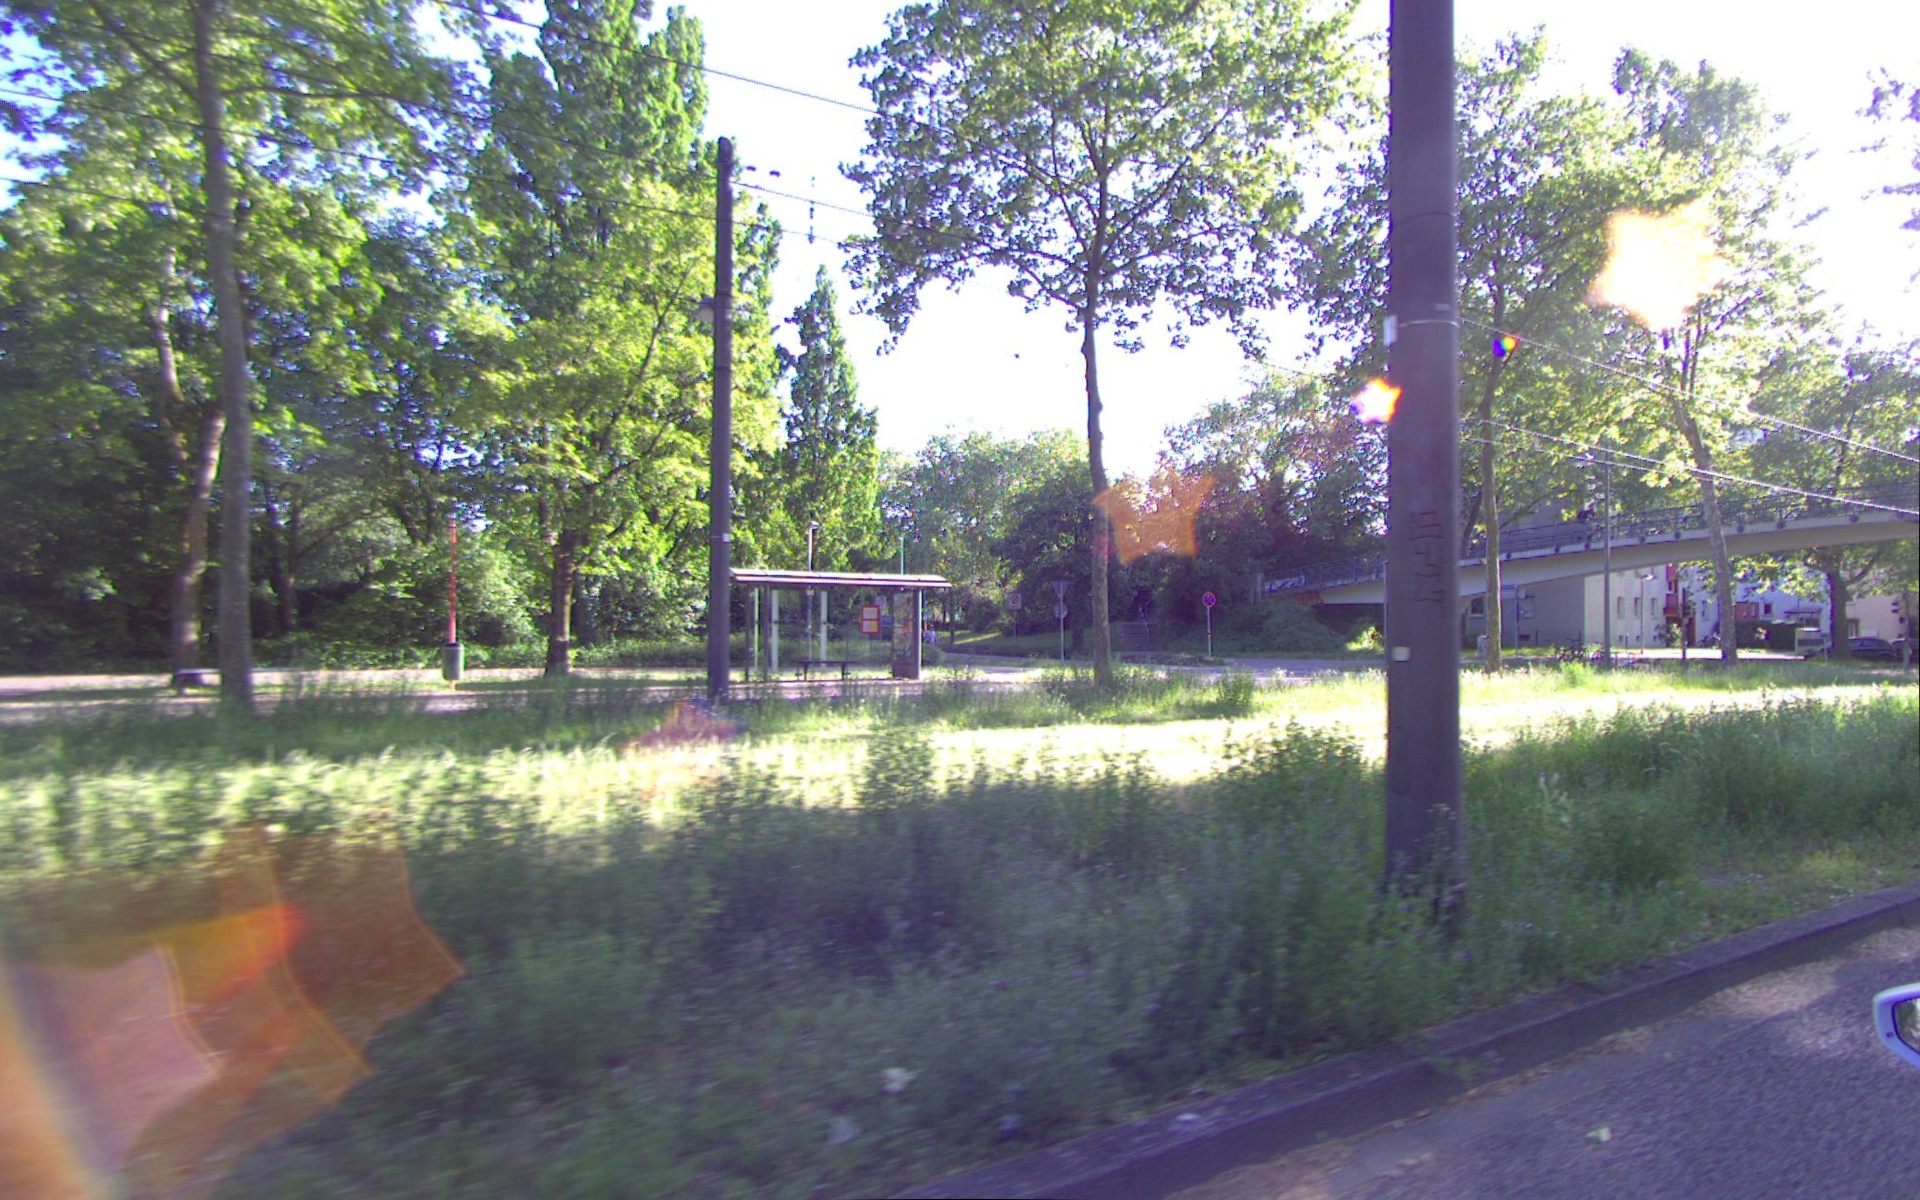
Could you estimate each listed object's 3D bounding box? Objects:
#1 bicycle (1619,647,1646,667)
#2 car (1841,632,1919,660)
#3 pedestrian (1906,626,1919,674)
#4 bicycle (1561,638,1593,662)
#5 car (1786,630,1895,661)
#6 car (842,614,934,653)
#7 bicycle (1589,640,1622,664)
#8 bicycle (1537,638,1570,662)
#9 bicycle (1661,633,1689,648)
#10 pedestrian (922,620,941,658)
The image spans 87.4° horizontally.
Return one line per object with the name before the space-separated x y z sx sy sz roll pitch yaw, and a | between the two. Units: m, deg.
bicycle | 27.546 2.316 41.167 1.160 0.789 0.432 1 0 -29
car | 54.262 2.686 58.466 4.119 1.447 1.699 1 1 23
pedestrian | 34.255 1.776 35.639 1.037 1.696 0.721 2 0 -32
bicycle | 27.166 2.205 44.194 1.666 1.022 0.432 1 0 -29
car | 48.508 2.484 55.439 4.119 1.447 1.699 1 1 23
car | -3.940 1.773 53.888 2.203 1.974 6.095 2 -2 -34
bicycle | 27.423 2.202 42.697 1.666 1.022 0.432 1 0 -29
bicycle | 25.999 2.167 44.006 1.666 1.022 0.432 1 0 -29
bicycle | 49.774 2.812 69.933 2.567 0.940 0.691 0 1 -32
pedestrian | -1.174 1.602 41.301 0.581 1.511 0.530 2 0 -35
